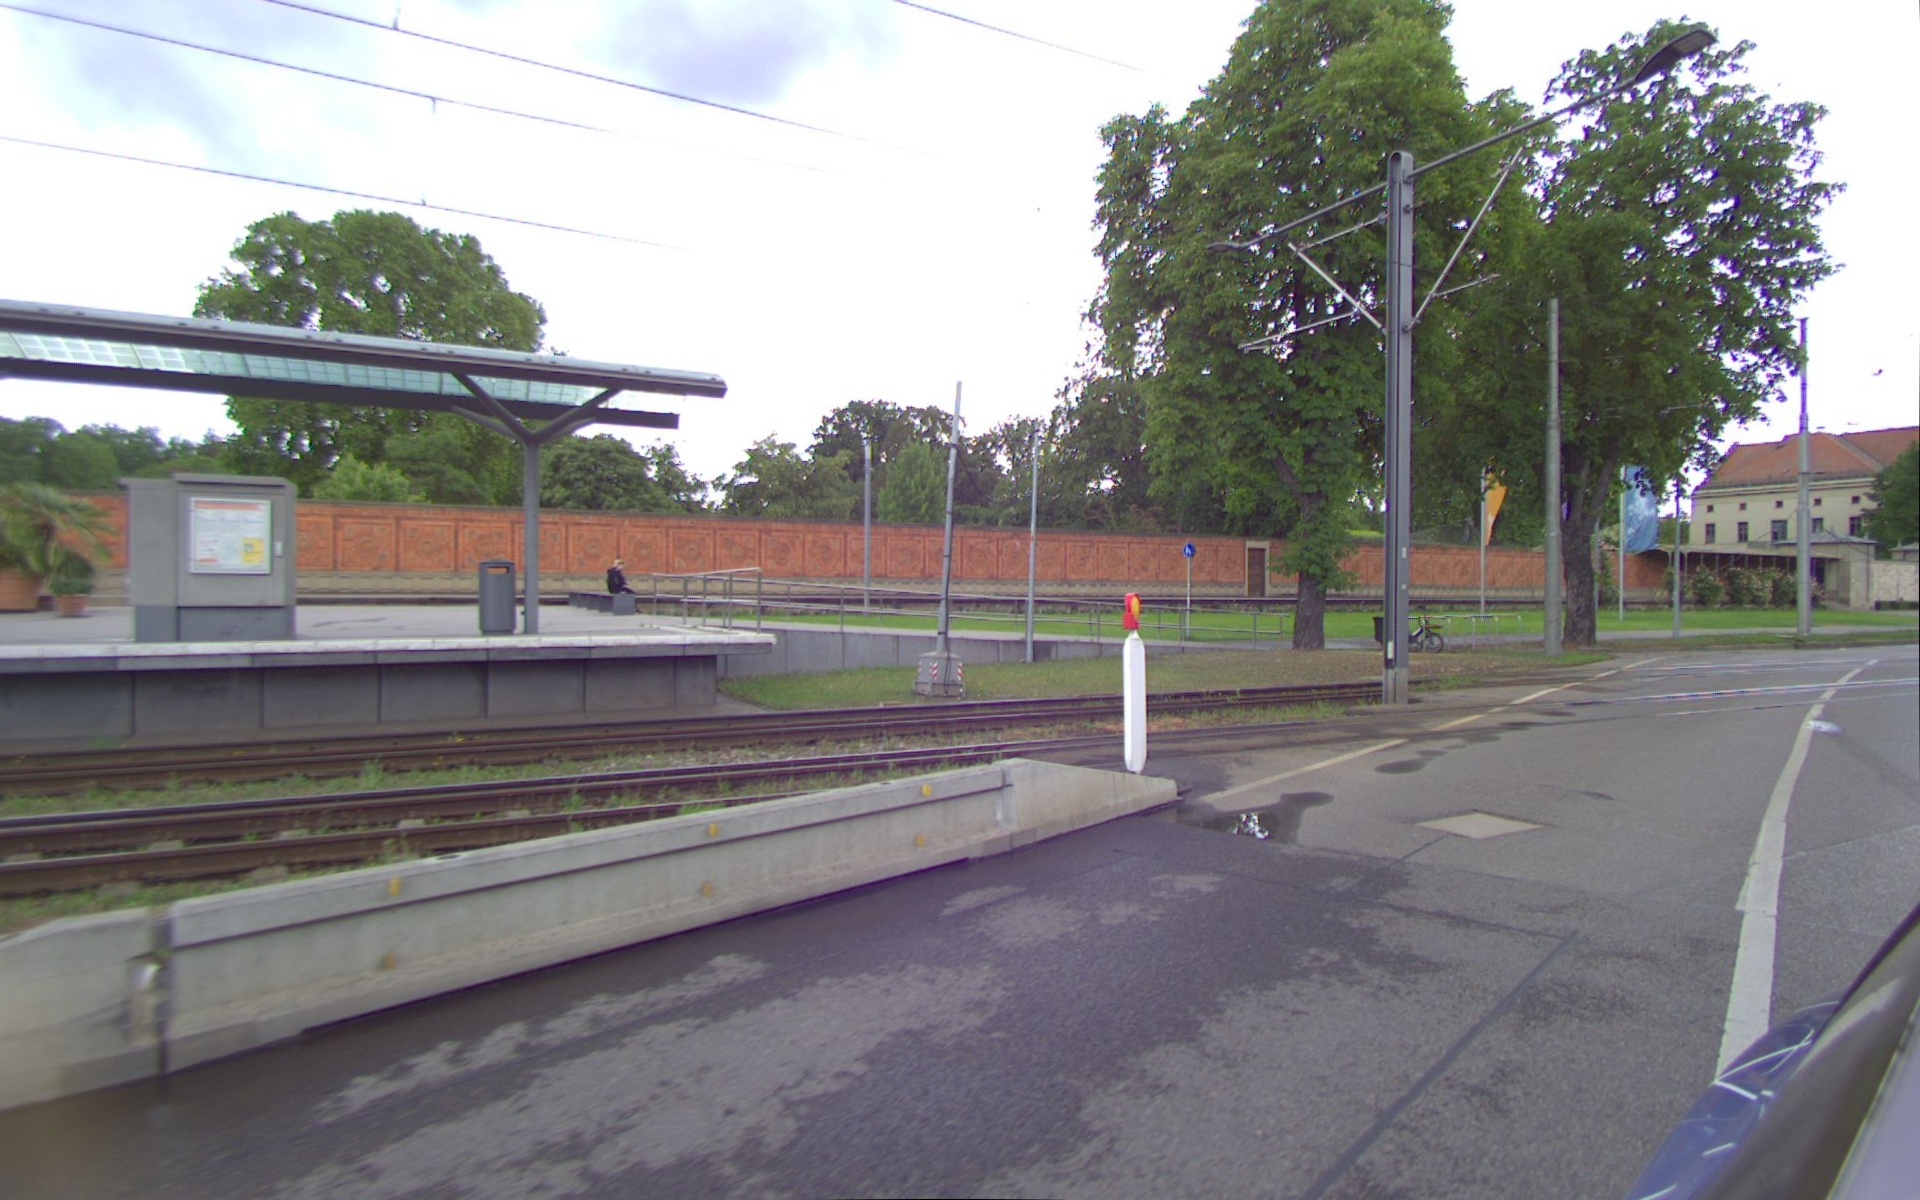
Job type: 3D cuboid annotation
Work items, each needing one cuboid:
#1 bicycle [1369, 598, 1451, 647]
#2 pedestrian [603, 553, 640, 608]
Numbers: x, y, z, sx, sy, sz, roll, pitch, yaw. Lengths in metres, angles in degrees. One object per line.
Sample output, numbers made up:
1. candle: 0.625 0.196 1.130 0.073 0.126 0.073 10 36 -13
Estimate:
1. bicycle: 11.601 0.547 26.178 0.725 1.172 2.002 0 1 -22
2. pedestrian: -7.718 -0.445 23.068 0.656 1.216 0.550 0 -1 -33
